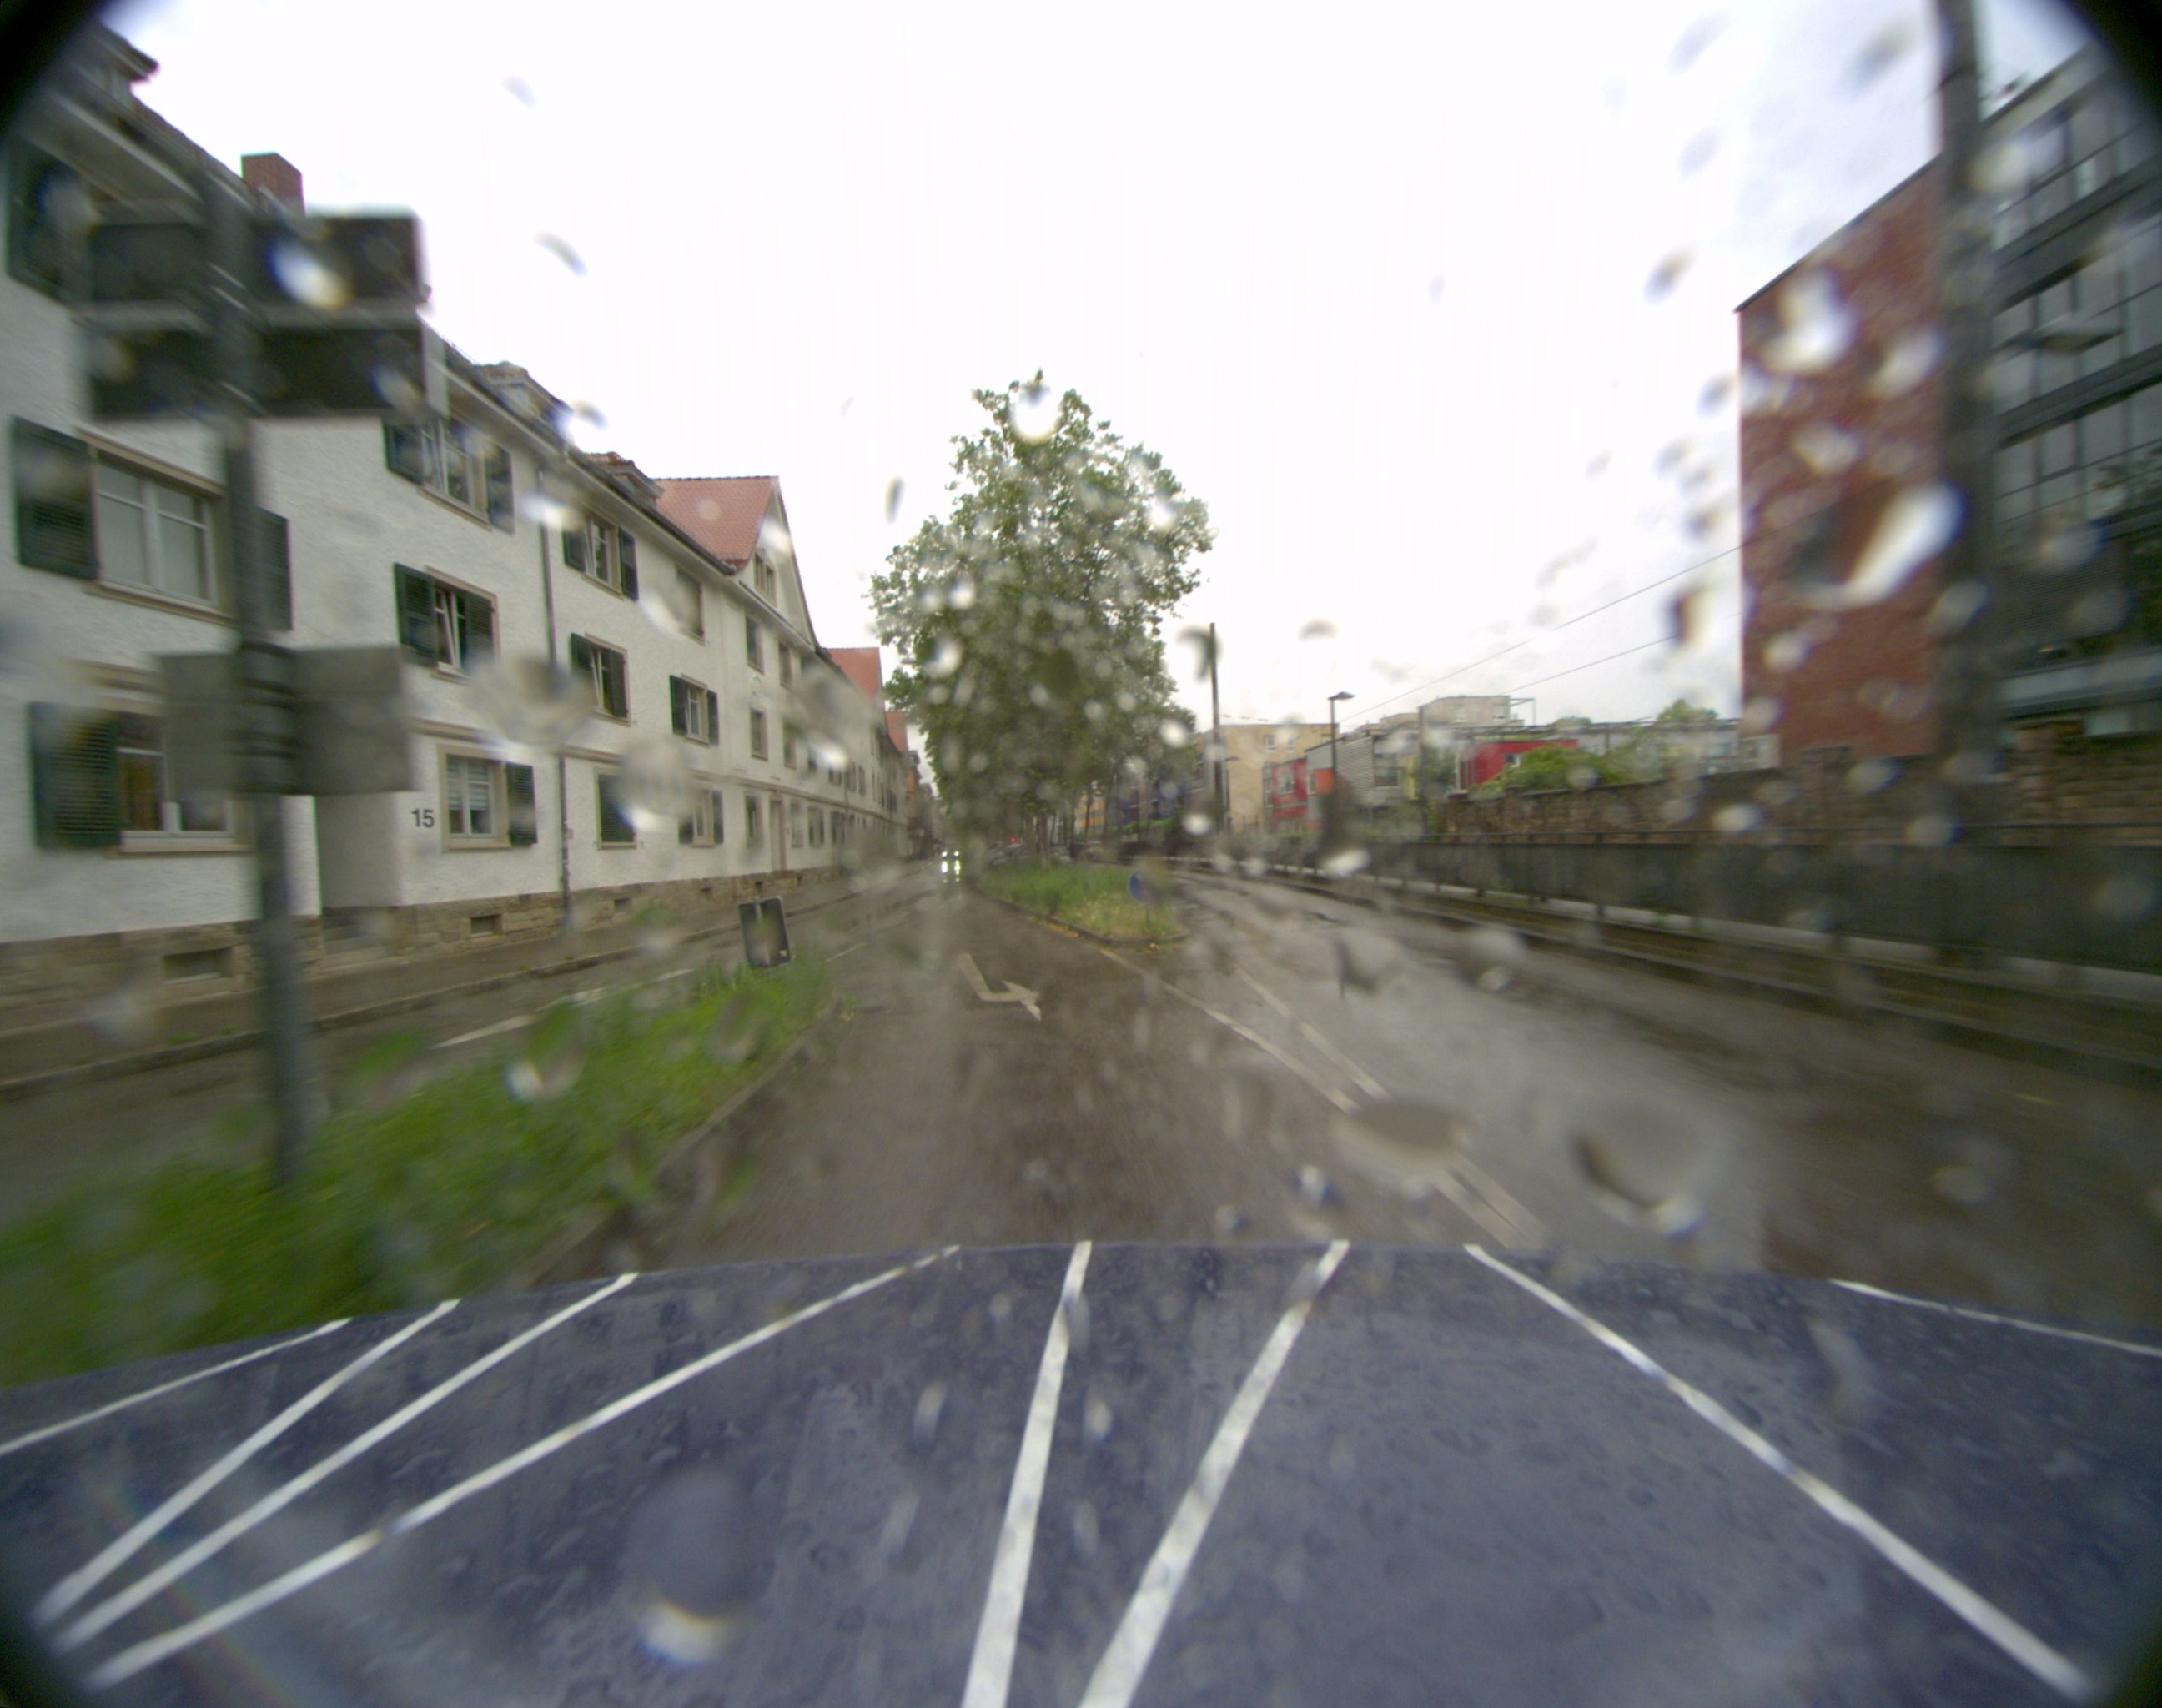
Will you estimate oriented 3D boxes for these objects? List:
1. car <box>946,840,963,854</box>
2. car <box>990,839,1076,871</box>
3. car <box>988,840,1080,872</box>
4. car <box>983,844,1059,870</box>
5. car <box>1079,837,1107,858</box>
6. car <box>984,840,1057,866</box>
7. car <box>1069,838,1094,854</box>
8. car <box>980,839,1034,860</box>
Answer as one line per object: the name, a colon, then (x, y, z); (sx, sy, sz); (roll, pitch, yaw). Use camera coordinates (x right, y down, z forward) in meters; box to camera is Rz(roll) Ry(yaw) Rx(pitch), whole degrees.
car: (-15.993, -0.925, 96.027); (1.852, 1.587, 4.212); (-2, 1, -7)
car: (-2.569, 0.026, 40.724); (4.221, 1.601, 1.751); (0, 2, 22)
car: (-2.369, 0.087, 38.433); (4.221, 1.532, 1.933); (0, 2, 22)
car: (-3.661, 0.180, 46.406); (4.323, 1.499, 1.751); (0, 2, 23)
car: (0.982, -0.569, 64.705); (1.693, 1.714, 3.687); (-1, 2, -9)
car: (-3.922, -0.074, 49.287); (4.324, 1.603, 1.750); (0, 2, 17)
car: (-0.012, -0.758, 71.937); (1.693, 1.439, 3.995); (-1, 2, -9)
car: (-7.283, -0.459, 74.732); (4.881, 2.002, 2.003); (0, 2, 22)
